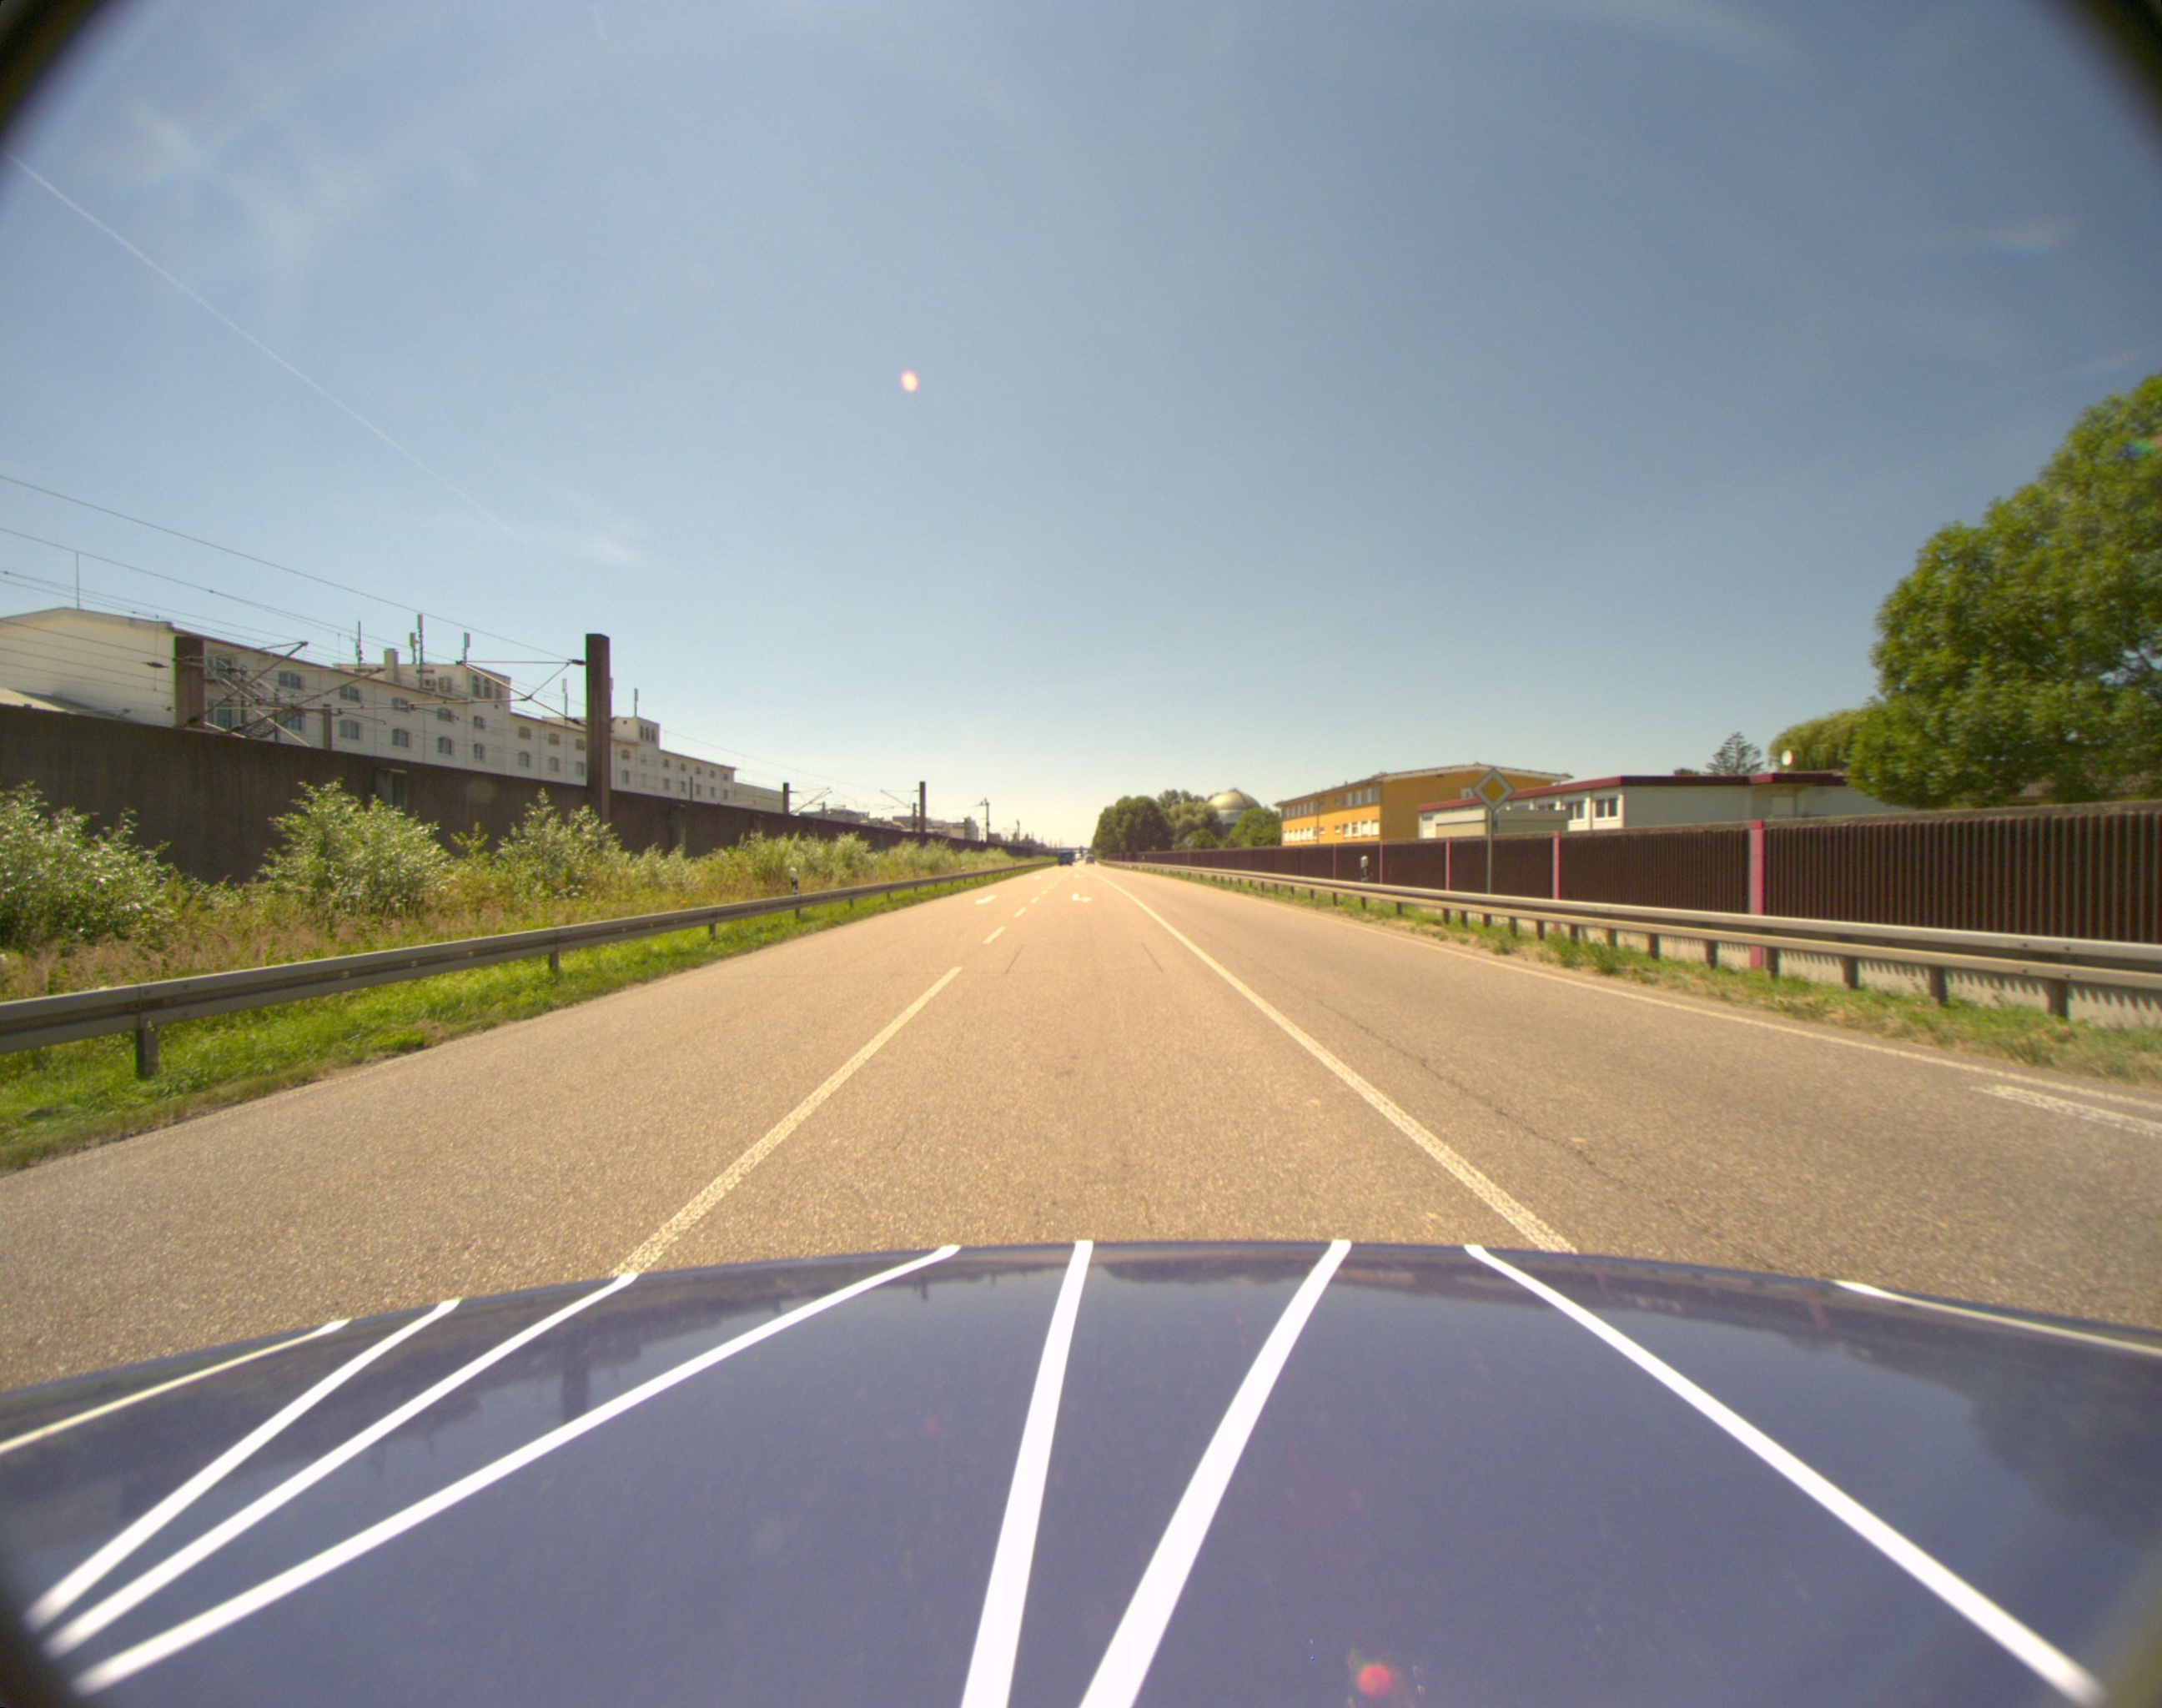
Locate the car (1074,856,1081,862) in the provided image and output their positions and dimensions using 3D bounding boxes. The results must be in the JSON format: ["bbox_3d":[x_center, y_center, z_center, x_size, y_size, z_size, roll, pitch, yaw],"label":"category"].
[{"bbox_3d":[-1.020,1.338,201.796,1.730,1.465,3.889,-1,0,-1],"label":"car"}]

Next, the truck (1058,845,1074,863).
[{"bbox_3d":[-2.614,-0.062,133.089,2.617,3.024,10.654,-1,0,0],"label":"truck"}]

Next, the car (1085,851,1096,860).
[{"bbox_3d":[1.854,0.342,147.226,1.892,1.730,4.775,-1,0,-2],"label":"car"}]
